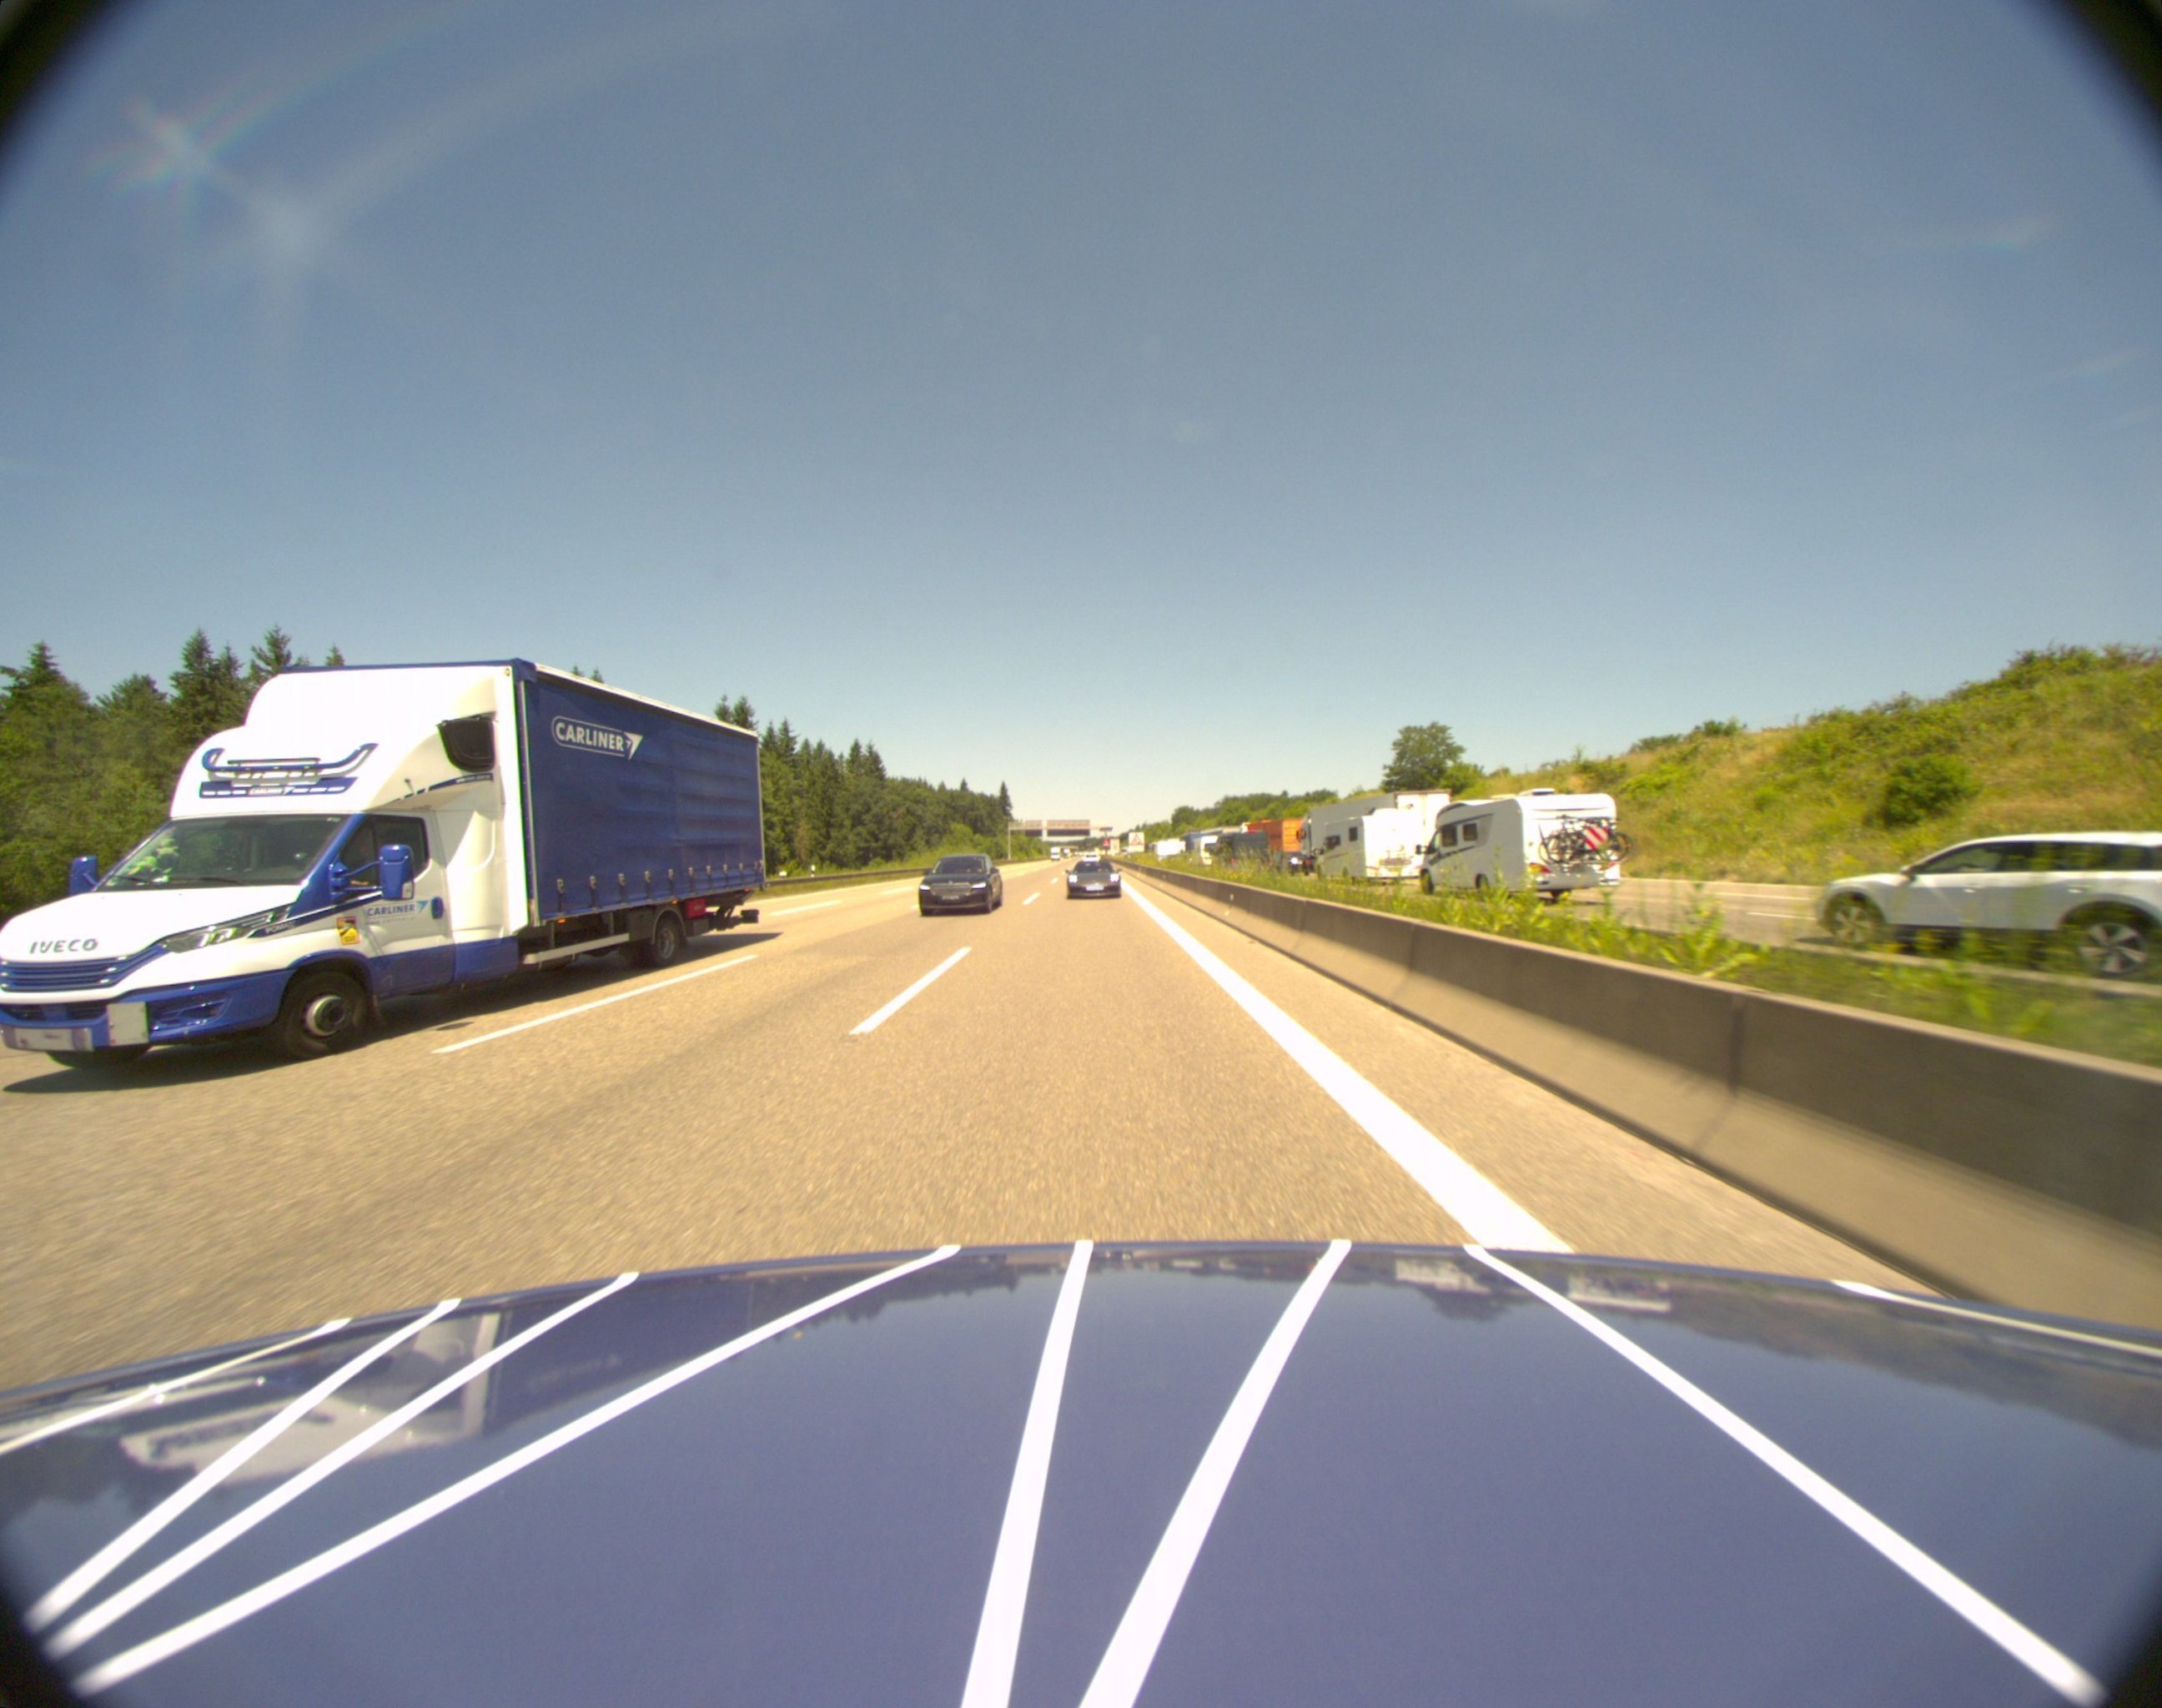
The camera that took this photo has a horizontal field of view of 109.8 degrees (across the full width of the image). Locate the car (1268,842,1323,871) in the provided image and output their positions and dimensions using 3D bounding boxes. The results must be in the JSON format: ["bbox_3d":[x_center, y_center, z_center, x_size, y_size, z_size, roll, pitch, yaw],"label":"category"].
[{"bbox_3d":[12.259,0.097,43.723,1.823,1.578,4.882,-1,1,0],"label":"car"}]

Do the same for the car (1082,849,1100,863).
[{"bbox_3d":[1.067,0.185,81.944,1.719,1.432,4.456,-1,1,-1],"label":"car"}]

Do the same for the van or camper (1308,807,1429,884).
[{"bbox_3d":[12.185,-0.369,33.069,2.551,2.920,7.827,-1,1,2],"label":"van or camper"}]

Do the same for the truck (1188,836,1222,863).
[{"bbox_3d":[12.220,-0.495,75.191,2.240,2.491,6.861,-1,1,0],"label":"truck"}]

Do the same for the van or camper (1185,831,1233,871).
[{"bbox_3d":[8.543,-0.220,51.253,2.198,2.491,6.057,-1,1,0],"label":"van or camper"}]

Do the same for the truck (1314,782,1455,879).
[{"bbox_3d":[15.664,-1.155,40.621,2.527,4.301,12.420,-2,1,1],"label":"truck"}]

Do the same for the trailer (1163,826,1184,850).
[{"bbox_3d":[17.058,-2.894,141.226,2.788,4.280,11.710,-1,1,2],"label":"trailer"}]

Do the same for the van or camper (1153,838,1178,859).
[{"bbox_3d":[12.635,-0.908,114.429,2.848,2.931,8.112,-2,1,1],"label":"van or camper"}]

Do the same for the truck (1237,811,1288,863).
[{"bbox_3d":[16.033,-1.469,67.614,2.596,4.301,7.291,-2,1,0],"label":"truck"}]

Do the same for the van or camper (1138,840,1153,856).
[{"bbox_3d":[13.695,-1.348,161.901,2.535,3.340,7.943,-2,1,2],"label":"van or camper"}]

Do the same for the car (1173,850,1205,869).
[{"bbox_3d":[8.379,0.405,59.434,1.823,1.400,4.882,-1,1,0],"label":"car"}]

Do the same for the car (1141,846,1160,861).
[{"bbox_3d":[8.305,-0.092,91.197,1.816,1.720,4.934,-2,1,1],"label":"car"}]

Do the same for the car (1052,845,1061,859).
[{"bbox_3d":[-6.173,-0.578,192.177,2.303,3.317,7.620,-2,1,-1],"label":"car"}]

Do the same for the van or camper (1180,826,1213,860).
[{"bbox_3d":[12.235,-1.144,80.980,2.318,3.371,7.678,-1,1,0],"label":"van or camper"}]

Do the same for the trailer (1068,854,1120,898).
[{"bbox_3d":[0.460,0.747,27.302,1.689,1.399,3.046,-3,0,1],"label":"trailer"}]

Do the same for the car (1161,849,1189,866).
[{"bbox_3d":[8.361,0.297,67.913,1.906,1.400,4.430,-1,1,0],"label":"car"}]

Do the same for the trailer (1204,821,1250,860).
[{"bbox_3d":[16.251,-1.483,85.260,2.787,4.010,12.249,-2,1,1],"label":"trailer"}]

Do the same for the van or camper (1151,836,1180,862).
[{"bbox_3d":[8.700,-0.584,78.575,2.198,2.526,6.415,-1,1,0],"label":"van or camper"}]

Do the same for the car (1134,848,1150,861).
[{"bbox_3d":[8.572,0.091,106.770,1.816,1.720,4.972,-2,1,1],"label":"car"}]

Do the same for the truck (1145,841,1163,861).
[{"bbox_3d":[16.702,-0.777,174.182,3.064,4.197,11.485,-2,1,0],"label":"truck"}]

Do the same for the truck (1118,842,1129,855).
[{"bbox_3d":[9.990,-1.262,178.655,2.125,2.825,6.211,-2,1,1],"label":"truck"}]

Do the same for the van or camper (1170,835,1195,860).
[{"bbox_3d":[12.592,-0.879,95.047,2.156,2.906,7.223,-2,1,1],"label":"van or camper"}]

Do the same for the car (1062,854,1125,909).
[{"bbox_3d":[0.401,0.786,24.036,1.718,1.432,4.457,-4,1,1],"label":"car"}]

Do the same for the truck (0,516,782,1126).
[{"bbox_3d":[-7.453,-0.241,10.059,2.790,4.104,9.739,-2,1,1],"label":"truck"}]

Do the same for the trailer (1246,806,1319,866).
[{"bbox_3d":[16.033,-1.387,61.519,2.618,4.285,11.998,-2,1,0],"label":"trailer"}]

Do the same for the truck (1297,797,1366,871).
[{"bbox_3d":[15.712,-1.203,48.002,2.526,4.301,5.665,-2,1,2],"label":"truck"}]

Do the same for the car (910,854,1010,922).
[{"bbox_3d":[-3.303,0.869,21.599,1.989,1.610,4.457,-2,1,1],"label":"car"}]

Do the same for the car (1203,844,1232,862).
[{"bbox_3d":[11.905,-0.083,66.411,1.735,1.457,4.113,-1,1,0],"label":"car"}]

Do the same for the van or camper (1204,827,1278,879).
[{"bbox_3d":[8.183,-0.078,39.599,2.303,2.421,7.282,-1,1,0],"label":"van or camper"}]

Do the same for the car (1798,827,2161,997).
[{"bbox_3d":[11.291,0.521,8.806,1.887,1.618,4.358,-1,1,1],"label":"car"}]

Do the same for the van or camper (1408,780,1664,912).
[{"bbox_3d":[12.031,-0.233,21.249,2.551,2.920,8.131,-1,1,2],"label":"van or camper"}]
